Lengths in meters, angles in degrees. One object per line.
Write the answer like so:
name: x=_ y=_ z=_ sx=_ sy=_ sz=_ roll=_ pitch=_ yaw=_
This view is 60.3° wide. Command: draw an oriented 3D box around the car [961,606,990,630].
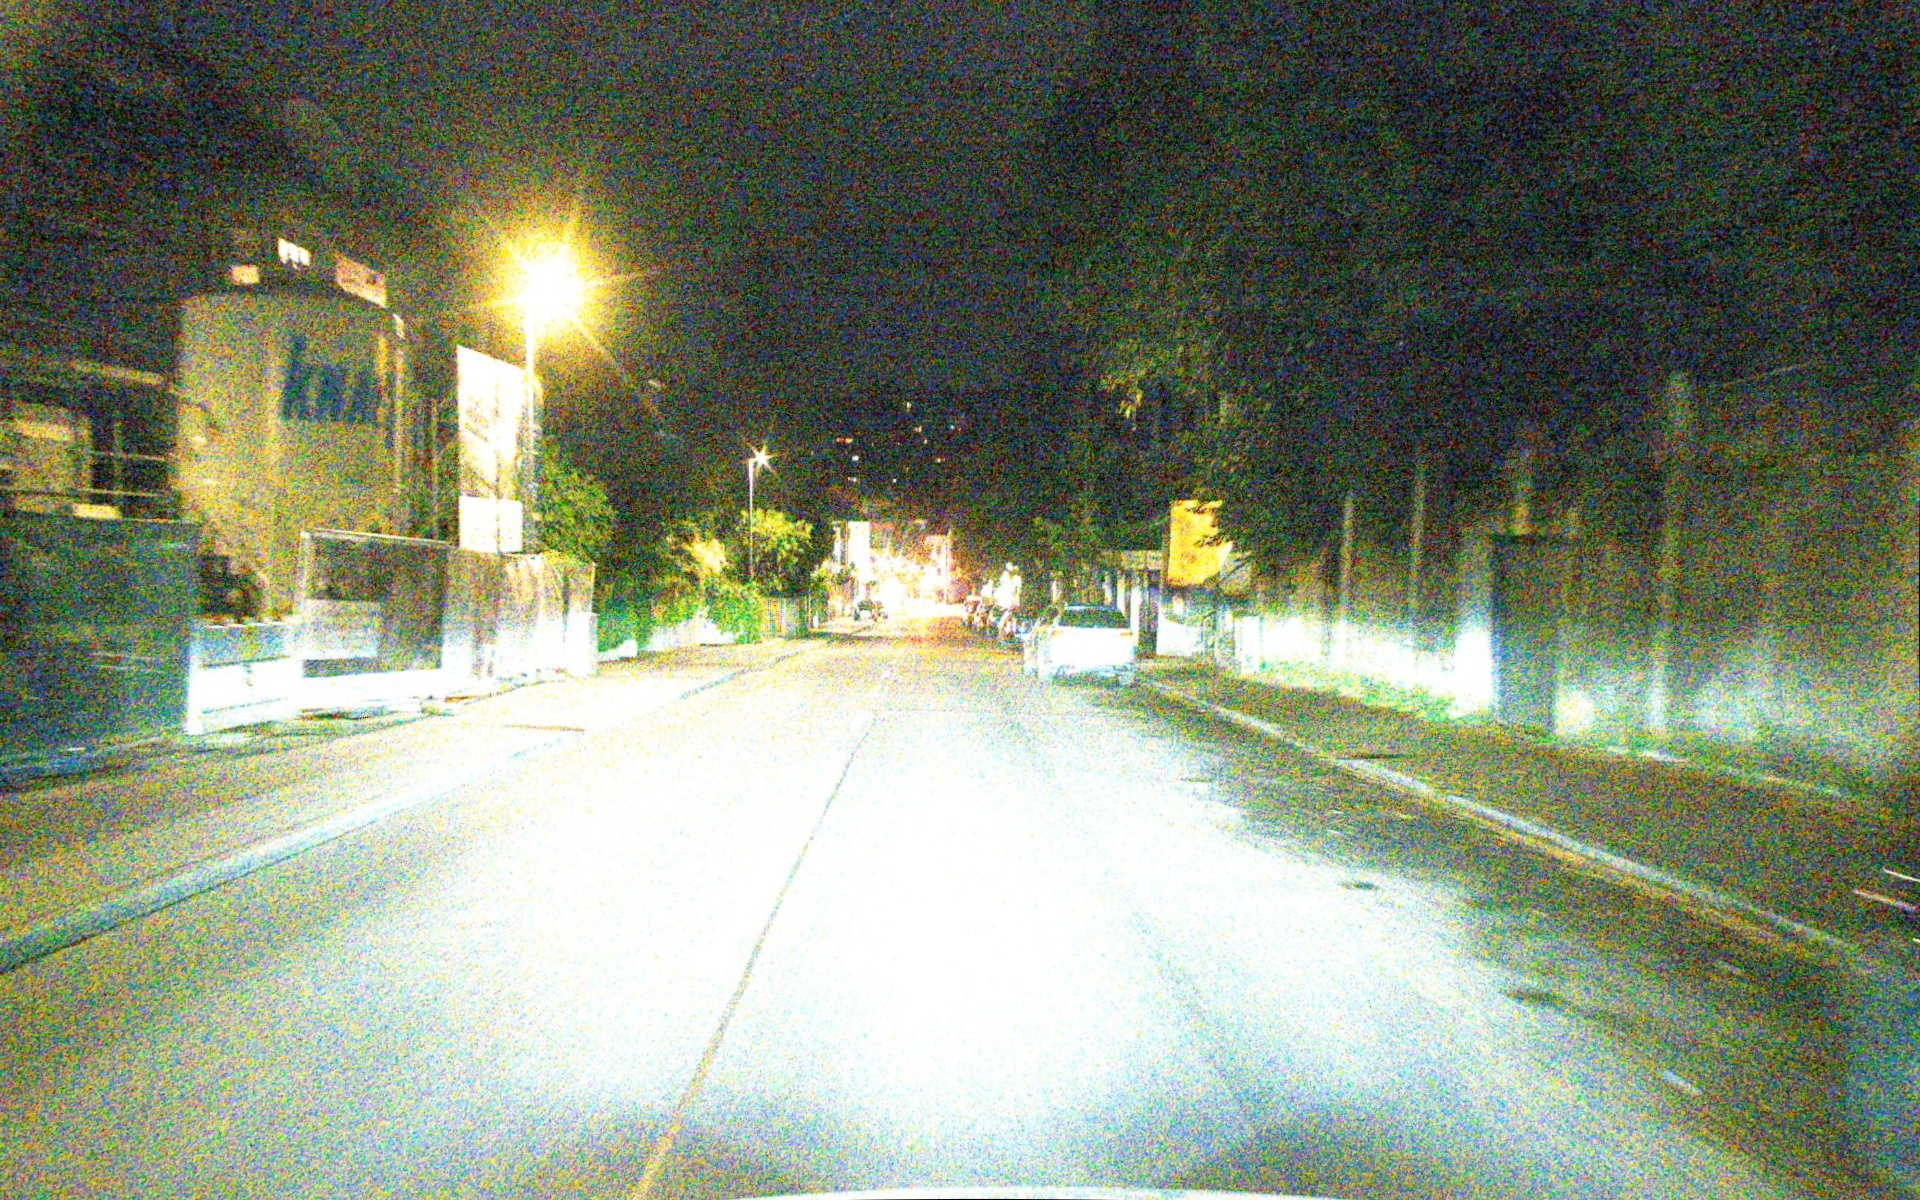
car: x=0.977 y=1.128 z=105.738 sx=1.649 sy=1.474 sz=3.998 roll=1 pitch=0 yaw=-3

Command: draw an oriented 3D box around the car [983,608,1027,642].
car: x=2.040 y=1.086 z=74.484 sx=1.829 sy=1.427 sz=4.001 roll=1 pitch=0 yaw=3

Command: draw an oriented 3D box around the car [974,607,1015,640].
car: x=1.643 y=1.094 z=79.324 sx=1.649 sy=1.474 sz=3.997 roll=1 pitch=0 yaw=-3

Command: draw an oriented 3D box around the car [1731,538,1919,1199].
car: x=2.855 y=0.726 z=1.960 sx=1.794 sy=1.693 sz=4.619 roll=0 pitch=0 yaw=1

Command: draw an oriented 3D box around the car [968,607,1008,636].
car: x=1.502 y=1.145 z=89.928 sx=1.650 sy=1.474 sz=3.995 roll=1 pitch=0 yaw=-6

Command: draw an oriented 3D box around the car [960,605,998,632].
car: x=1.070 y=1.060 z=94.563 sx=1.650 sy=1.474 sz=3.994 roll=1 pitch=0 yaw=-7

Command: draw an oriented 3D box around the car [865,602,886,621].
car: x=-7.070 y=0.988 z=138.299 sx=1.718 sy=1.566 sz=3.729 roll=0 pitch=0 yaw=-2

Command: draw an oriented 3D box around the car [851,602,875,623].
car: x=-7.100 y=0.909 z=121.176 sx=1.718 sy=1.566 sz=3.727 roll=0 pitch=0 yaw=-4

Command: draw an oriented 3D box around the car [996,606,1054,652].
car: x=2.129 y=0.942 z=54.928 sx=1.597 sy=1.464 sz=3.862 roll=1 pitch=0 yaw=-2

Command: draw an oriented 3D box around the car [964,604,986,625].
car: x=1.132 y=1.066 z=126.151 sx=1.648 sy=1.566 sz=4.000 roll=0 pitch=0 yaw=0

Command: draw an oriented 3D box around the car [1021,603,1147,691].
car: x=2.286 y=0.846 z=31.554 sx=1.728 sy=1.501 sz=4.272 roll=2 pitch=0 yaw=-5
